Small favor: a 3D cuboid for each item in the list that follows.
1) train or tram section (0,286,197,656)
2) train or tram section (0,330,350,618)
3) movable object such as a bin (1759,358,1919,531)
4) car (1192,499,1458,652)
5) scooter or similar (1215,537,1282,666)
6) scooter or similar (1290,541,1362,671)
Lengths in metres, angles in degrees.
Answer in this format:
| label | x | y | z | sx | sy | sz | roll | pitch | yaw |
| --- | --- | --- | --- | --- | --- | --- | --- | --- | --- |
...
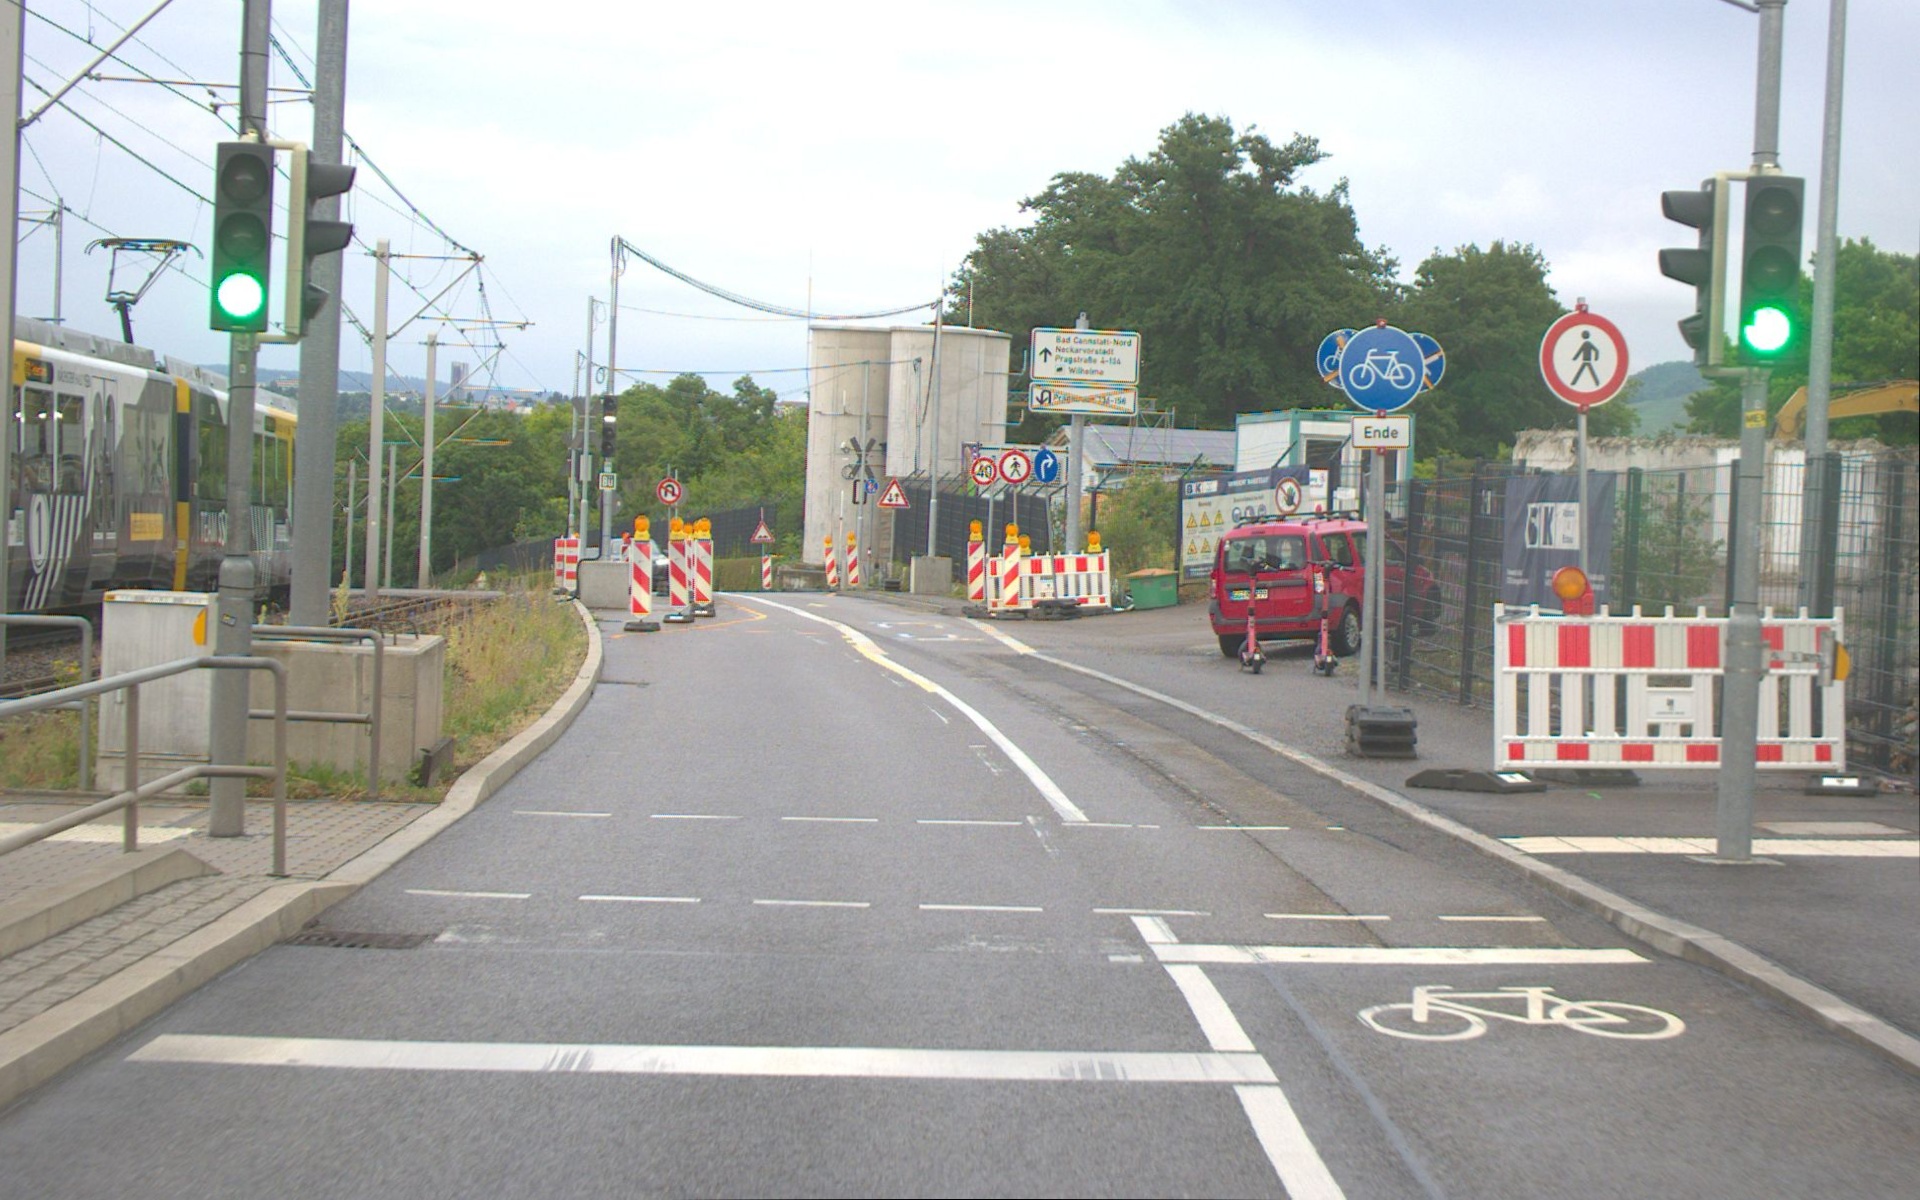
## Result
| label | x | y | z | sx | sy | sz | roll | pitch | yaw |
| --- | --- | --- | --- | --- | --- | --- | --- | --- | --- |
| train or tram section | -11.631 | -1.438 | 37.808 | 2.955 | 3.872 | 19.576 | 3 | 1 | -3 |
| train or tram section | -12.777 | -1.979 | 57.207 | 2.955 | 3.872 | 19.294 | 3 | 1 | -4 |
| movable object such as a bin | 34.308 | -5.435 | 121.753 | 11.233 | 5.975 | 3.491 | 1 | 1 | 4 |
| car | 4.648 | -0.329 | 43.226 | 1.822 | 1.787 | 4.402 | 2 | 2 | 27 |
| scooter or similar | 3.153 | 0.001 | 37.654 | 0.615 | 1.346 | 1.912 | 1 | 1 | 2 |
| scooter or similar | 3.964 | 0.042 | 37.317 | 0.615 | 1.346 | 1.912 | 1 | 1 | 2 |
